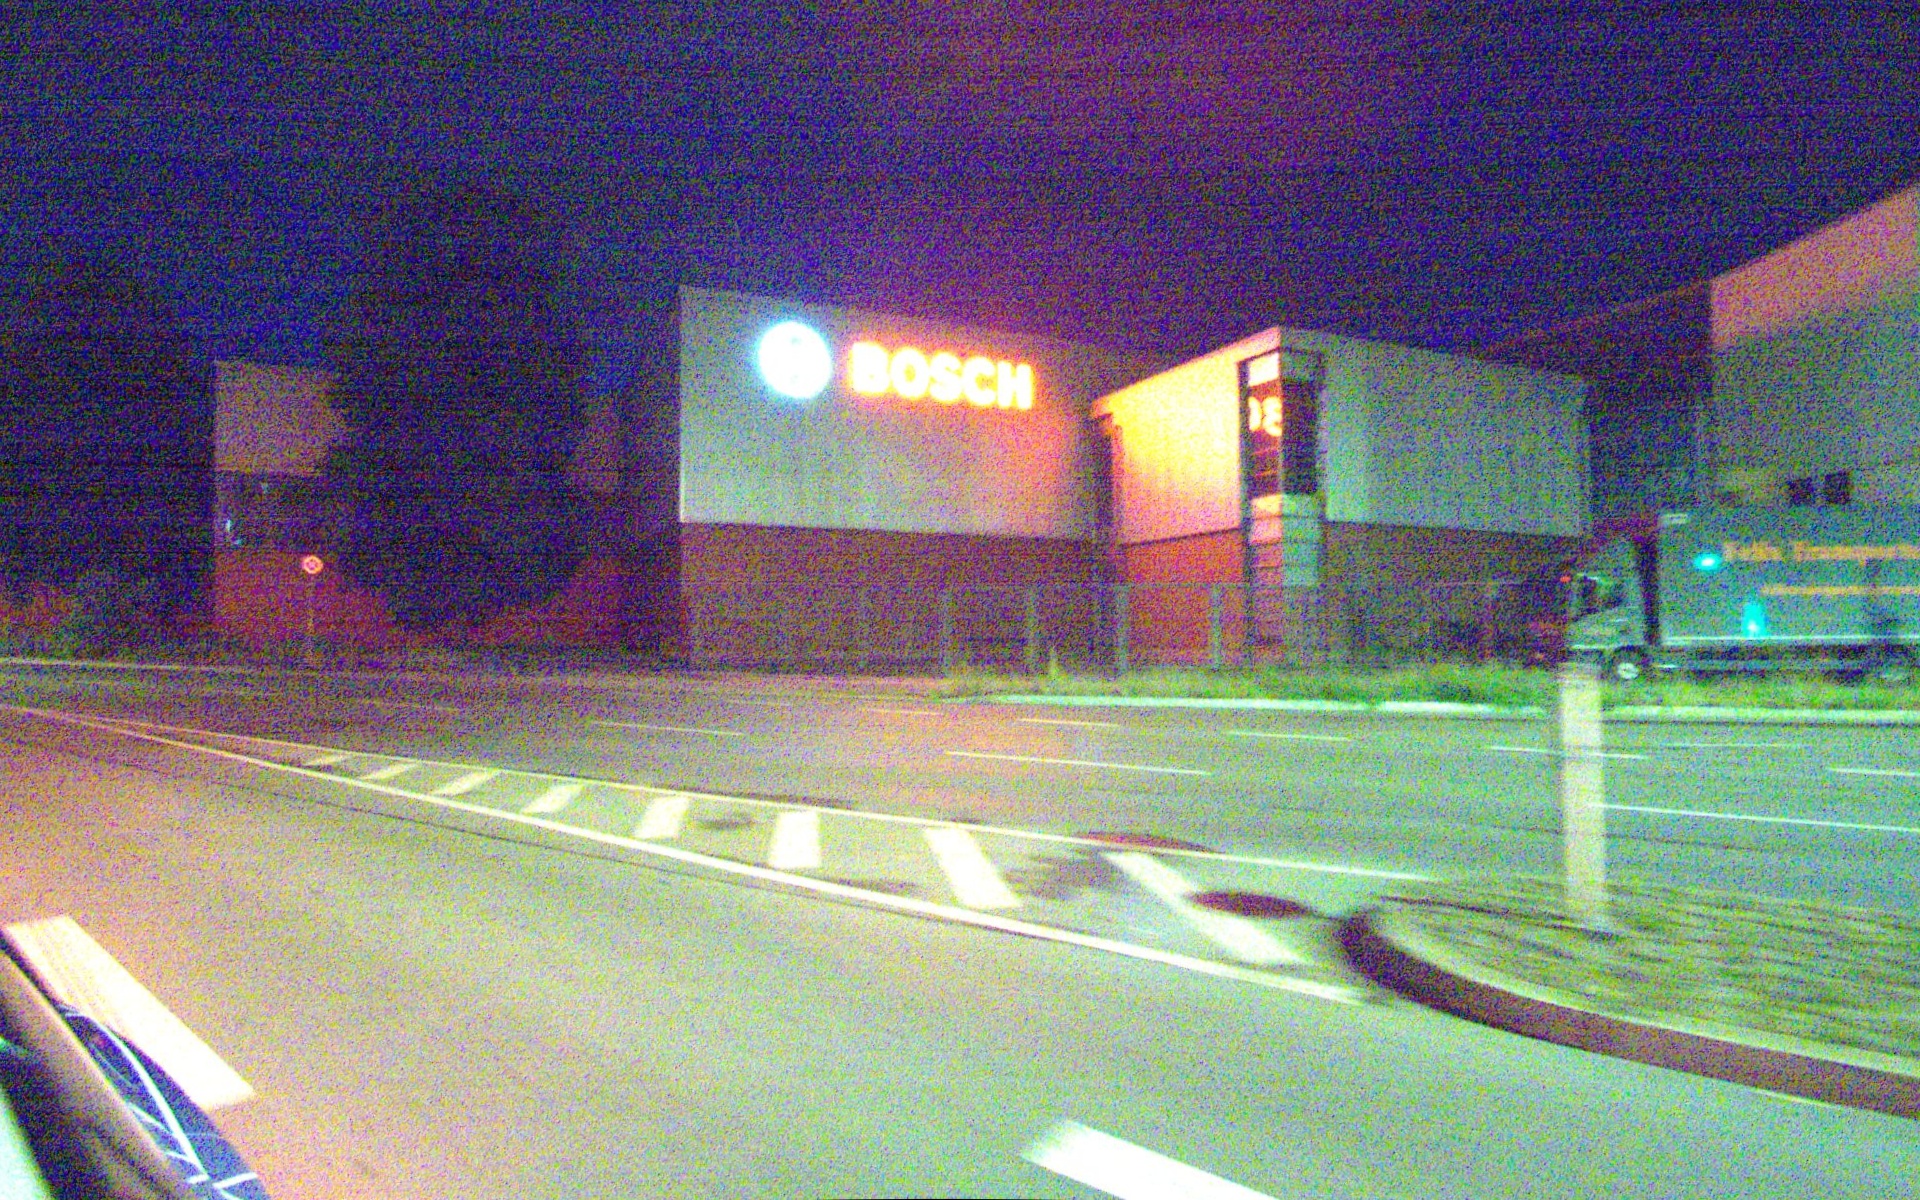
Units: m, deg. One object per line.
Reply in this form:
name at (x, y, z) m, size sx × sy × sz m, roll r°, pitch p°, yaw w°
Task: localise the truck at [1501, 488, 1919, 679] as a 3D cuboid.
truck at (17.331, -0.315, 21.884) m, size 9.442 × 3.825 × 2.941 m, roll 0°, pitch -1°, yaw 7°
